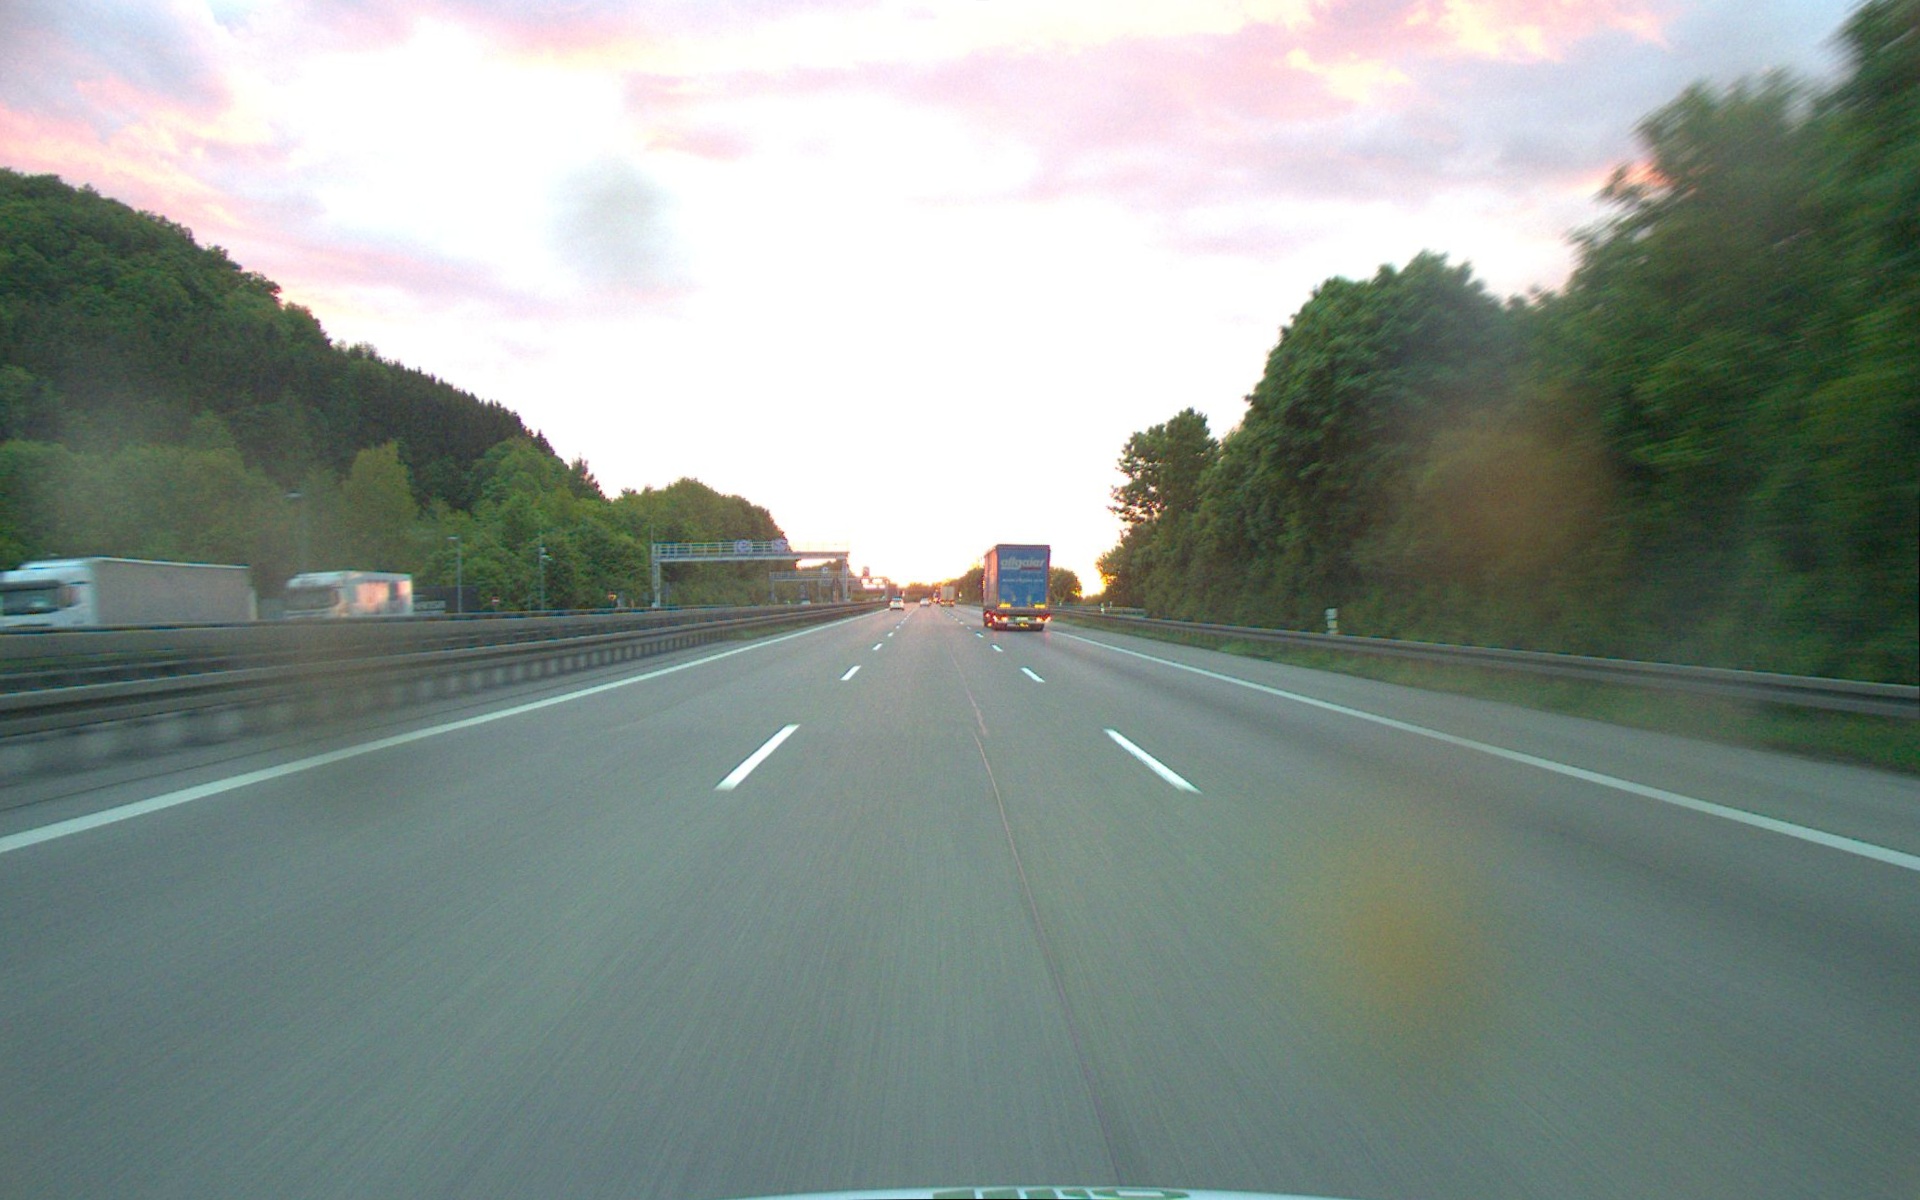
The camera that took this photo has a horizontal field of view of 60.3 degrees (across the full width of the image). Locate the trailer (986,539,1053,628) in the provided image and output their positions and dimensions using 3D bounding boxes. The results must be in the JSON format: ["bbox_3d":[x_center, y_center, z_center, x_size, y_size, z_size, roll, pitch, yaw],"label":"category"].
[{"bbox_3d":[2.913,-0.788,84.722,2.715,4.158,13.737,1,0,-1],"label":"trailer"}]

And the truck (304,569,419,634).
[{"bbox_3d":[-34.086,0.021,94.847,2.817,3.484,13.775,0,1,-5],"label":"truck"}]

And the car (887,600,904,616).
[{"bbox_3d":[-7.997,1.006,205.119,1.973,1.780,3.902,-3,0,-2],"label":"car"}]

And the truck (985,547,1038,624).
[{"bbox_3d":[2.825,-0.784,91.503,2.680,4.066,5.848,1,0,0],"label":"truck"}]

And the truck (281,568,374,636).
[{"bbox_3d":[-33.465,0.065,87.757,2.817,3.484,6.719,0,0,-5],"label":"truck"}]

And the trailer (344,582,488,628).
[{"bbox_3d":[-46.424,0.371,141.768,3.003,3.743,13.322,0,1,29],"label":"trailer"}]

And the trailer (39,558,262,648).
[{"bbox_3d":[-34.066,0.054,70.542,2.815,3.484,13.849,0,1,0],"label":"trailer"}]

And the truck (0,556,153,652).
[{"bbox_3d":[-34.042,0.113,63.483,2.814,3.484,6.726,0,0,0],"label":"truck"}]
